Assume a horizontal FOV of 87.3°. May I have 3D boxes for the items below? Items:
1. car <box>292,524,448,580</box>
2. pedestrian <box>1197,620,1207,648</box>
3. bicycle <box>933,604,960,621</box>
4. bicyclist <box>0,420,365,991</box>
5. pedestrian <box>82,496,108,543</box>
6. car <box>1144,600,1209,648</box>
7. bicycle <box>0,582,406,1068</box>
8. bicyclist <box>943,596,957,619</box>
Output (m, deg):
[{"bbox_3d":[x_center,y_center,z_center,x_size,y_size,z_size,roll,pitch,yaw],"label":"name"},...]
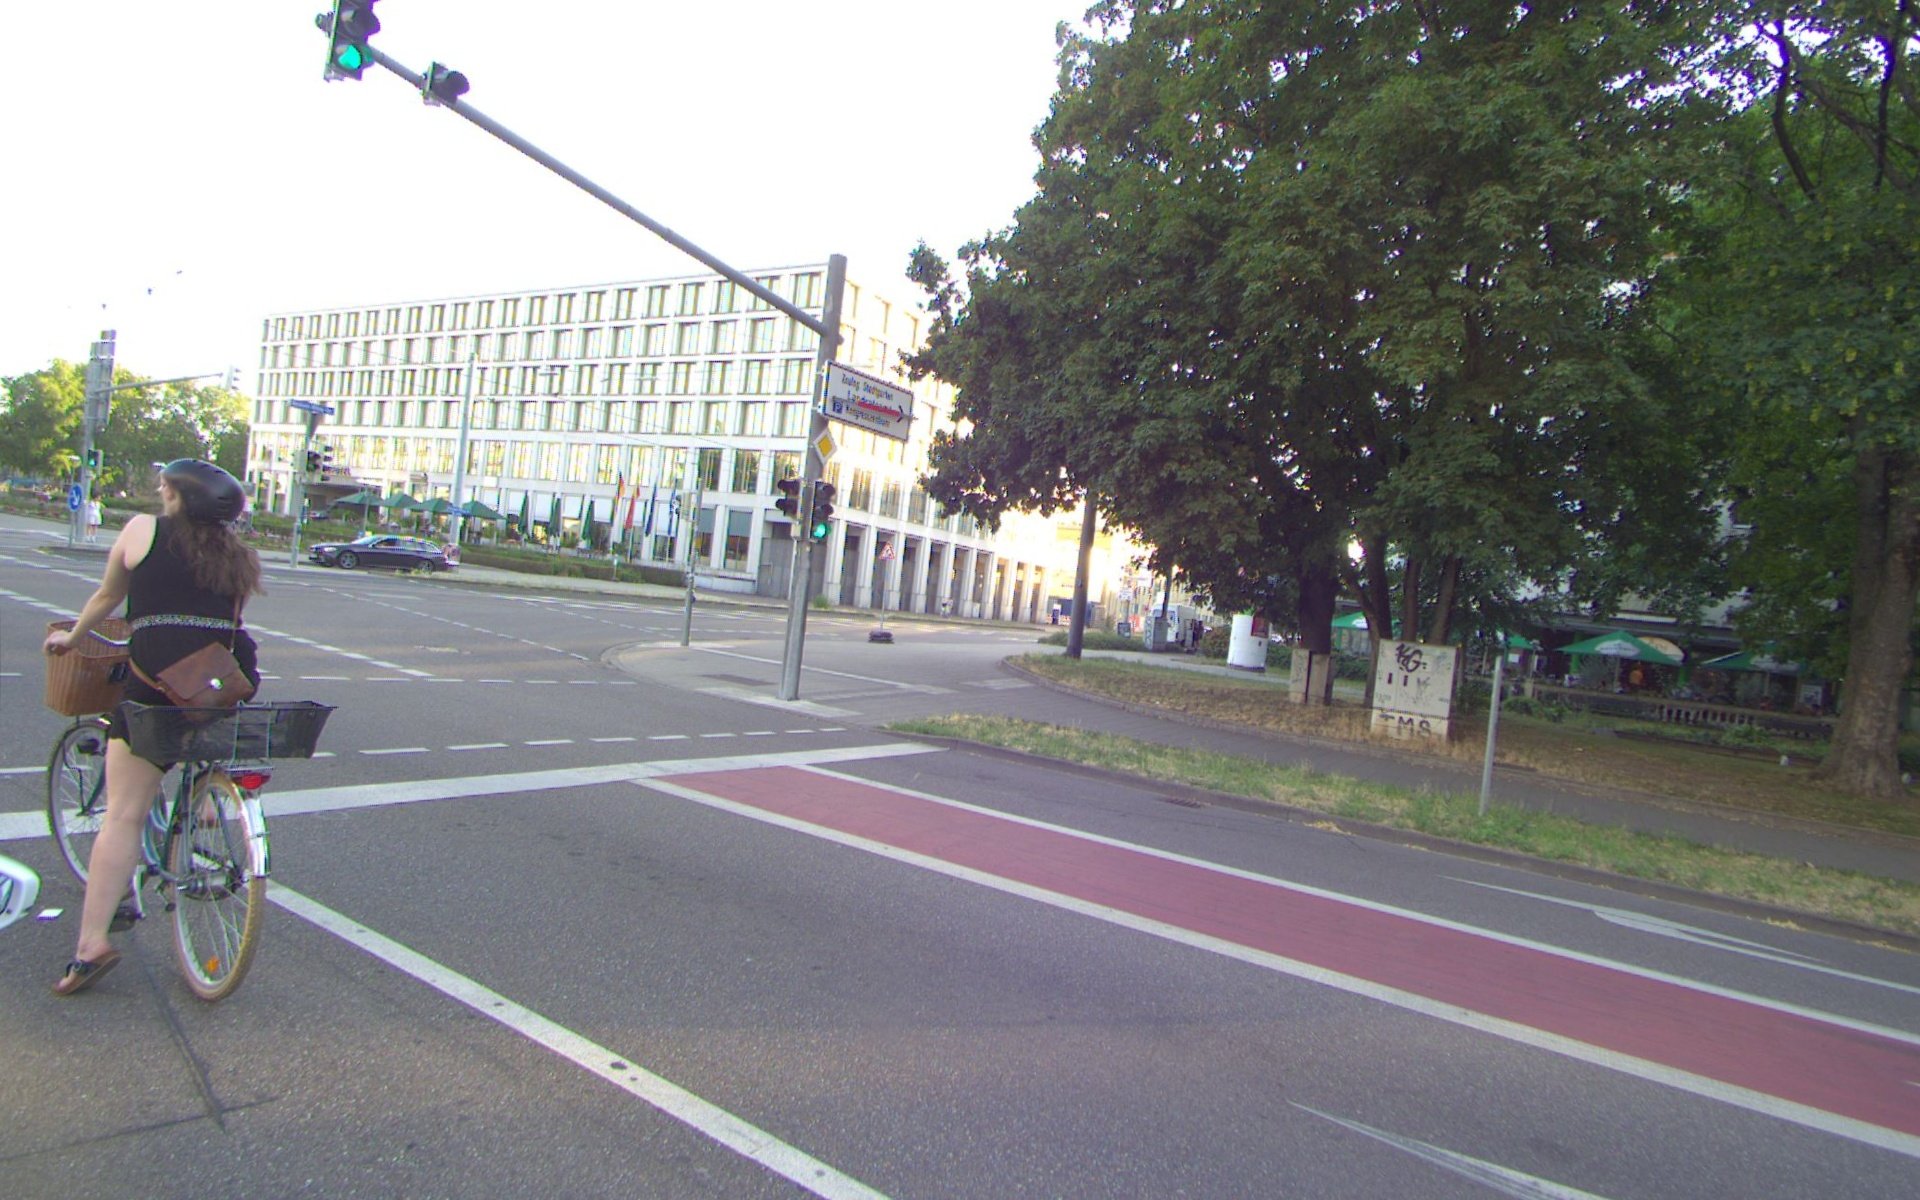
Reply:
[{"bbox_3d":[-23.014,-1.836,39.444,1.968,1.534,4.826,7,0,34],"label":"car"},{"bbox_3d":[13.404,1.890,55.701,0.302,1.525,0.336,7,-1,31],"label":"pedestrian"},{"bbox_3d":[-0.969,0.920,73.201,0.592,1.120,2.775,7,0,29],"label":"bicycle"},{"bbox_3d":[-2.695,0.287,3.423,0.982,1.655,0.600,7,0,32],"label":"bicyclist"},{"bbox_3d":[-30.177,-2.794,35.089,0.402,1.559,0.491,7,2,31],"label":"pedestrian"},{"bbox_3d":[12.001,1.361,55.580,1.967,2.318,4.605,6,0,31],"label":"car"},{"bbox_3d":[-2.830,0.615,3.476,1.971,1.146,0.612,7,-1,32],"label":"bicycle"},{"bbox_3d":[-0.748,0.536,73.513,0.567,1.556,0.708,7,1,29],"label":"bicyclist"}]
